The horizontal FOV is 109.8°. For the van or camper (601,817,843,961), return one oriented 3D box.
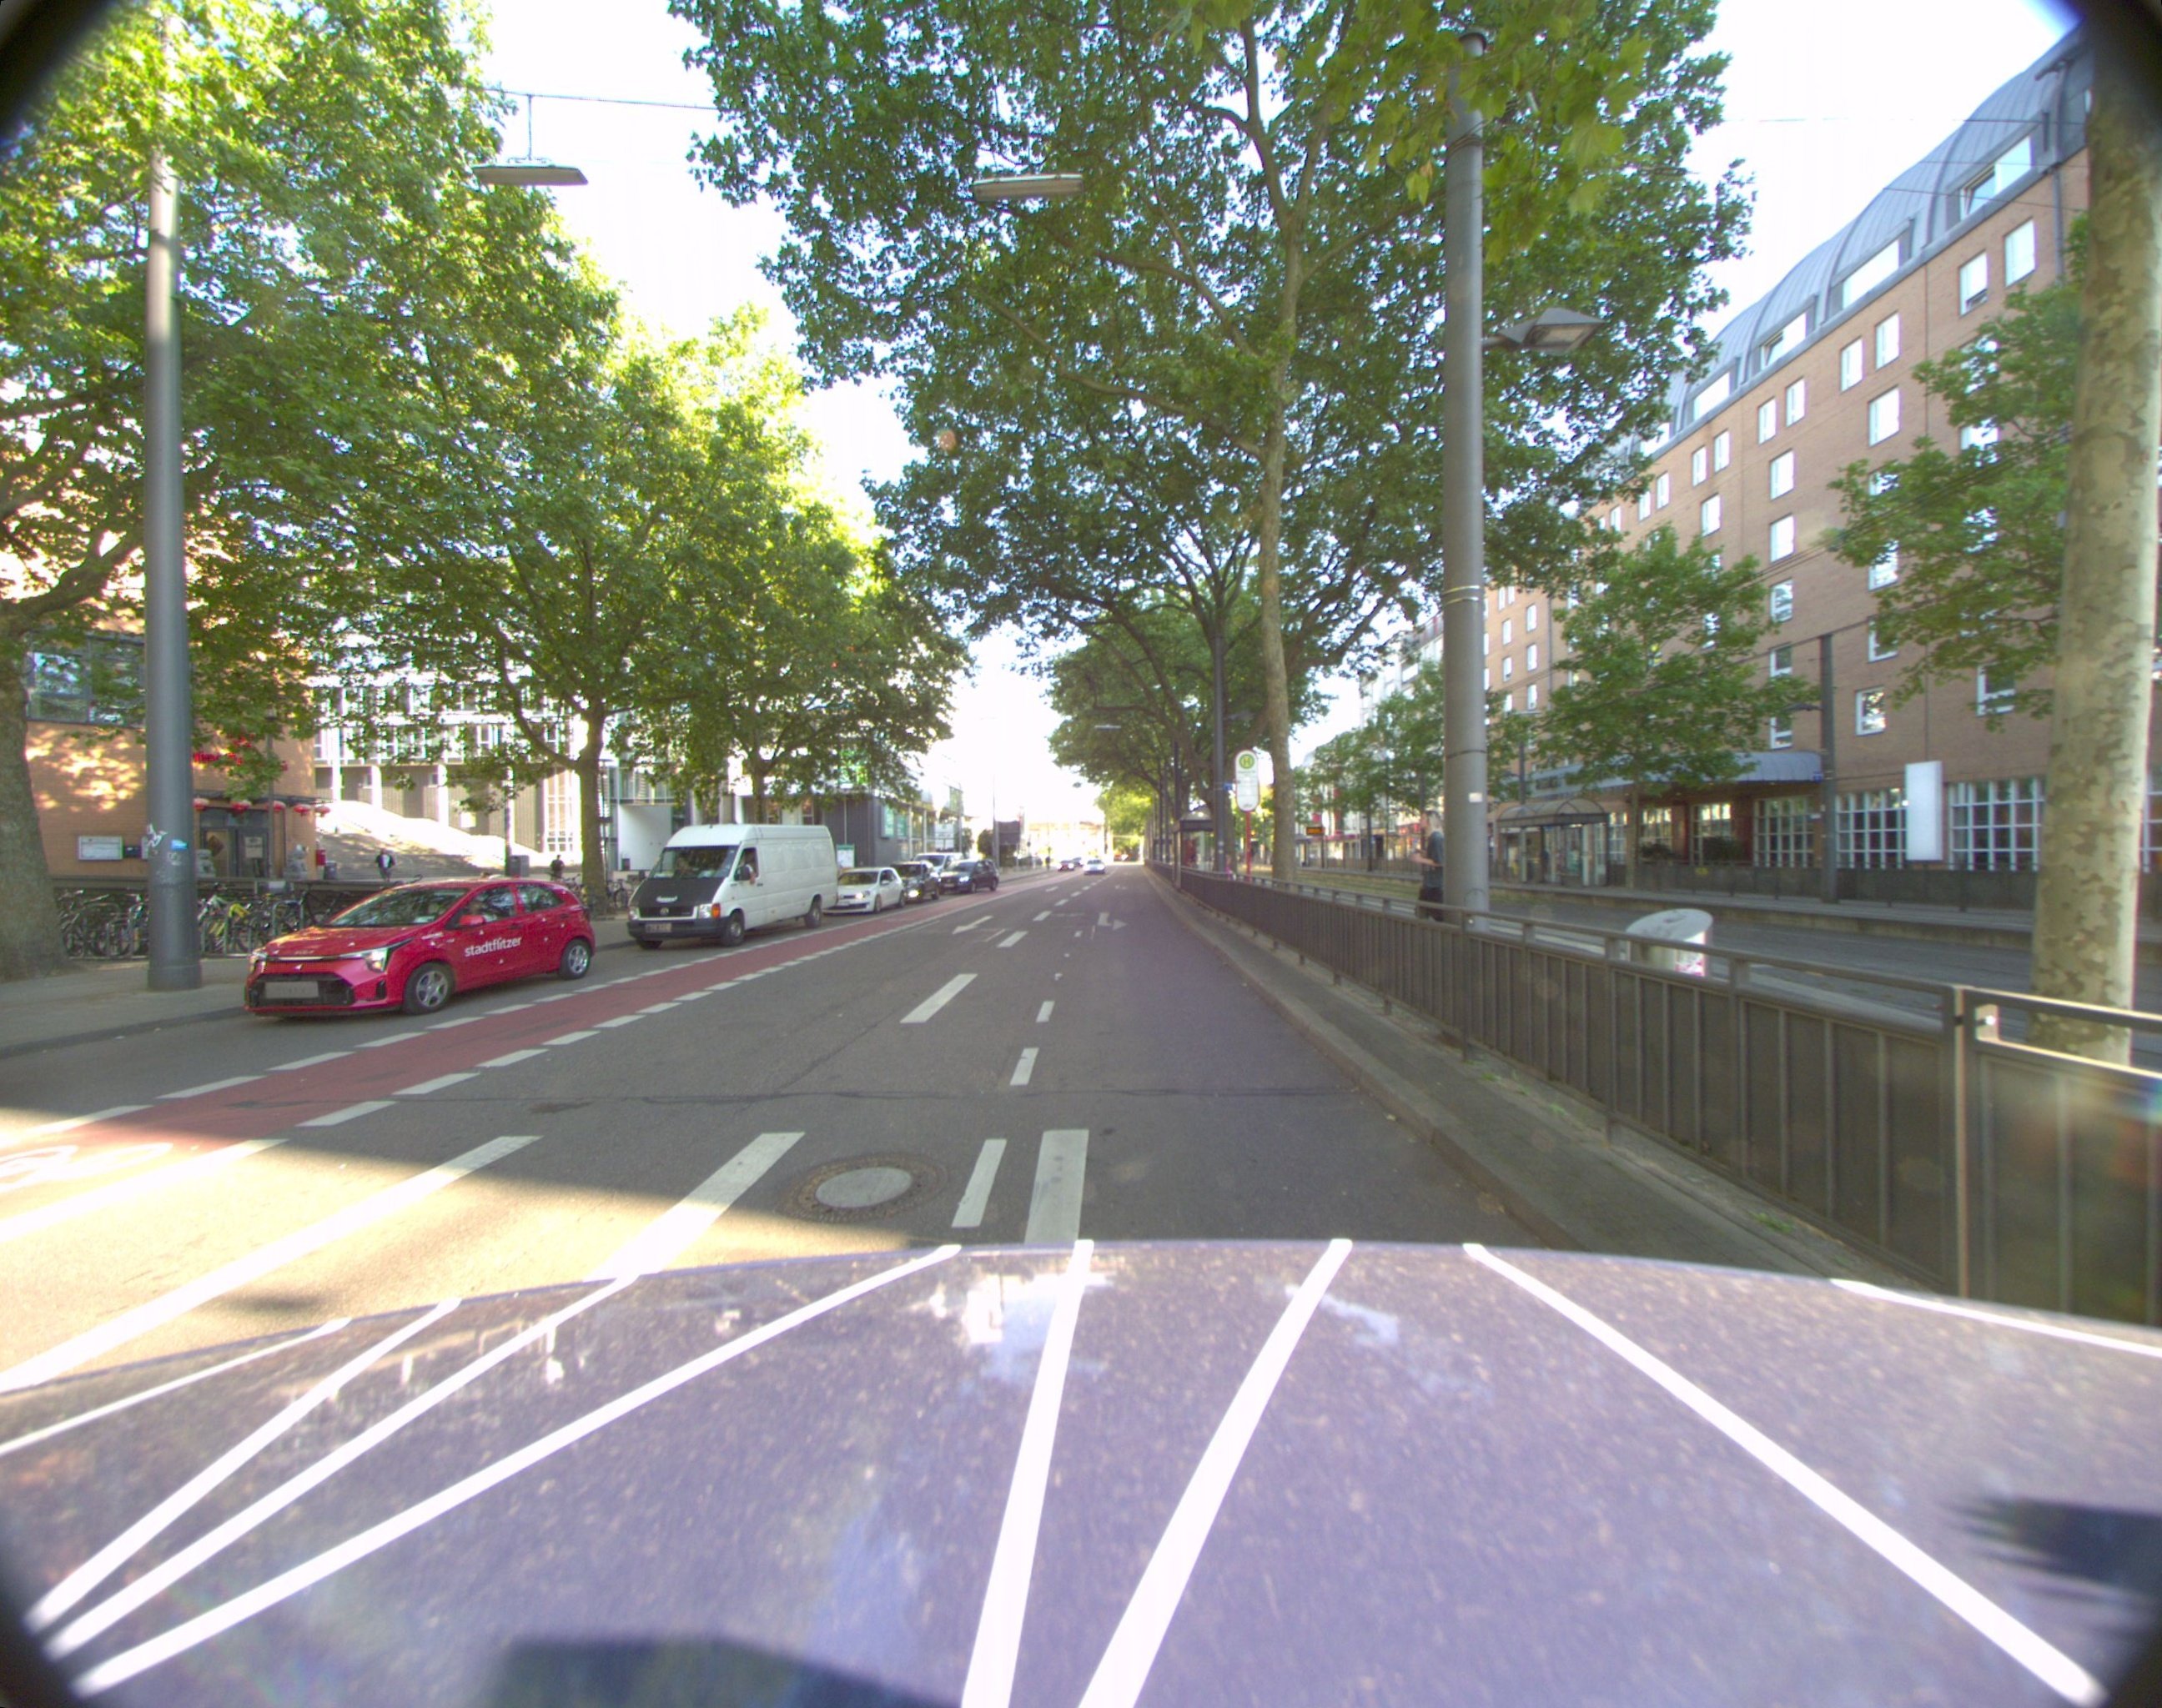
[{"bbox_3d":[-7.547,0.628,17.066,1.998,2.563,6.575,-2,0,3],"label":"van or camper"}]

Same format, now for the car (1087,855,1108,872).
[{"bbox_3d":[1.506,0.812,68.352,1.733,1.432,4.000,-2,0,2],"label":"car"}]

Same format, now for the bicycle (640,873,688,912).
[{"bbox_3d":[-13.578,1.240,24.799,0.522,1.187,1.850,0,0,1],"label":"bicycle"}]

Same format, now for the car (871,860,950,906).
[{"bbox_3d":[-6.667,1.082,30.232,1.818,1.610,4.229,-1,0,5],"label":"car"}]

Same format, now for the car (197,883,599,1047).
[{"bbox_3d":[-7.951,1.177,9.382,1.606,1.449,3.651,-1,0,0],"label":"car"}]

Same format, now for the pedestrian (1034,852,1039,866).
[{"bbox_3d":[-5.344,0.594,91.339,0.611,1.644,0.583,-1,1,1],"label":"pedestrian"}]

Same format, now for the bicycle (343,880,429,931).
[{"bbox_3d":[-17.867,1.287,19.587,0.517,1.187,1.790,0,0,1],"label":"bicycle"}]

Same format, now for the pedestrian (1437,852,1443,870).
[{"bbox_3d":[30.179,0.597,63.815,0.438,1.497,0.659,0,1,23],"label":"pedestrian"}]

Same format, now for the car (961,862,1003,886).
[{"bbox_3d":[-5.966,1.176,46.299,1.801,1.369,4.001,0,0,3],"label":"car"}]

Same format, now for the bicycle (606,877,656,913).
[{"bbox_3d":[-14.660,1.317,24.814,0.522,1.088,1.797,0,0,1],"label":"bicycle"}]

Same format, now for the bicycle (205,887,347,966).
[{"bbox_3d":[-13.821,1.204,13.129,0.448,1.187,1.850,0,0,1],"label":"bicycle"}]

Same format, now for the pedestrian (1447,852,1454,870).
[{"bbox_3d":[30.904,0.559,63.549,0.438,1.511,0.659,0,1,23],"label":"pedestrian"}]

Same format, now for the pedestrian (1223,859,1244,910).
[{"bbox_3d":[3.931,0.776,19.618,0.500,1.308,0.419,0,1,8],"label":"pedestrian"}]

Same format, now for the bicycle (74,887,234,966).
[{"bbox_3d":[-15.924,1.203,13.131,0.458,1.187,1.850,0,0,1],"label":"bicycle"}]

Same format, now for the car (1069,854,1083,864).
[{"bbox_3d":[-0.690,0.715,107.637,1.801,1.438,4.001,0,0,3],"label":"car"}]

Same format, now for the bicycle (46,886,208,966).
[{"bbox_3d":[-16.387,1.198,13.133,0.435,1.187,1.850,0,0,1],"label":"bicycle"}]

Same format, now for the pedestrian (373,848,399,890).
[{"bbox_3d":[-33.754,0.726,36.909,0.878,2.025,0.584,-1,1,-43],"label":"pedestrian"}]

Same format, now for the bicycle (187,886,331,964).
[{"bbox_3d":[-14.327,1.200,13.320,0.484,1.187,1.850,0,0,1],"label":"bicycle"}]

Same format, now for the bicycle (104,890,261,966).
[{"bbox_3d":[-15.426,1.236,13.129,0.485,1.118,1.850,0,0,1],"label":"bicycle"}]

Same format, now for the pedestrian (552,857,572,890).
[{"bbox_3d":[-24.663,0.904,36.103,0.719,1.549,0.639,-1,1,-35],"label":"pedestrian"}]

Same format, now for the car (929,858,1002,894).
[{"bbox_3d":[-5.536,1.015,37.081,1.964,1.610,4.335,-1,0,14],"label":"car"}]

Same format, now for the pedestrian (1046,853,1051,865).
[{"bbox_3d":[-4.355,0.707,101.542,0.648,1.644,0.643,-1,1,1],"label":"pedestrian"}]

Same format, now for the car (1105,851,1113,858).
[{"bbox_3d":[7.678,0.130,206.360,1.998,2.002,4.001,0,0,4],"label":"car"}]

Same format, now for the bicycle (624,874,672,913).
[{"bbox_3d":[-14.116,1.271,24.815,0.495,1.187,1.850,0,0,1],"label":"bicycle"}]

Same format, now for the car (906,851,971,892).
[{"bbox_3d":[-7.483,0.862,40.447,1.965,1.983,4.960,-1,0,7],"label":"car"}]

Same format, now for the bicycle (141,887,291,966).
[{"bbox_3d":[-14.843,1.199,13.120,0.447,1.187,1.850,0,0,1],"label":"bicycle"}]

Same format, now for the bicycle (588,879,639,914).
[{"bbox_3d":[-15.220,1.365,24.789,0.516,1.027,1.850,0,0,1],"label":"bicycle"}]

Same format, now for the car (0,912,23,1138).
[{"bbox_3d":[-8.014,1.166,2.964,1.743,1.476,4.251,-2,0,0],"label":"car"}]

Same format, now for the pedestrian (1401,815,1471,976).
[{"bbox_3d":[4.331,0.474,9.264,0.621,1.873,0.607,1,4,41],"label":"pedestrian"}]

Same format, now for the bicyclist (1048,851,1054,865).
[{"bbox_3d":[-3.715,0.496,92.922,0.673,1.707,0.715,-1,1,1],"label":"bicyclist"}]

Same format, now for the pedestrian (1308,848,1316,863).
[{"bbox_3d":[30.841,0.190,101.293,0.806,2.002,0.763,-1,1,1],"label":"pedestrian"}]

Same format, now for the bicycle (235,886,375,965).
[{"bbox_3d":[-13.318,1.194,13.124,0.482,1.187,1.850,0,0,1],"label":"bicycle"}]

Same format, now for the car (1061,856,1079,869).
[{"bbox_3d":[-1.248,0.978,87.921,1.801,1.369,4.001,0,0,3],"label":"car"}]

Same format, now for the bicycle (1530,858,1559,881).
[{"bbox_3d":[21.463,0.705,35.219,0.451,0.998,1.753,-1,0,6],"label":"bicycle"}]

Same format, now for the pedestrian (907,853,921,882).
[{"bbox_3d":[-10.214,0.794,46.430,0.715,1.758,0.526,-1,1,2],"label":"pedestrian"}]

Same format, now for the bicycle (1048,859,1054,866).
[{"bbox_3d":[-3.669,1.036,92.965,0.580,0.879,1.671,-1,0,1],"label":"bicycle"}]

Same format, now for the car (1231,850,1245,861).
[{"bbox_3d":[29.610,0.225,143.496,1.998,2.002,4.000,-1,0,1],"label":"car"}]

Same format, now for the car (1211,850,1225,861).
[{"bbox_3d":[26.653,0.234,147.814,1.998,2.002,4.000,-1,0,1],"label":"car"}]

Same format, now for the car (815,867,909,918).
[{"bbox_3d":[-7.047,1.188,24.880,1.682,1.420,4.001,-1,0,3],"label":"car"}]

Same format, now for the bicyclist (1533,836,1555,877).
[{"bbox_3d":[21.361,0.116,35.089,0.572,1.893,0.813,0,1,6],"label":"bicyclist"}]
